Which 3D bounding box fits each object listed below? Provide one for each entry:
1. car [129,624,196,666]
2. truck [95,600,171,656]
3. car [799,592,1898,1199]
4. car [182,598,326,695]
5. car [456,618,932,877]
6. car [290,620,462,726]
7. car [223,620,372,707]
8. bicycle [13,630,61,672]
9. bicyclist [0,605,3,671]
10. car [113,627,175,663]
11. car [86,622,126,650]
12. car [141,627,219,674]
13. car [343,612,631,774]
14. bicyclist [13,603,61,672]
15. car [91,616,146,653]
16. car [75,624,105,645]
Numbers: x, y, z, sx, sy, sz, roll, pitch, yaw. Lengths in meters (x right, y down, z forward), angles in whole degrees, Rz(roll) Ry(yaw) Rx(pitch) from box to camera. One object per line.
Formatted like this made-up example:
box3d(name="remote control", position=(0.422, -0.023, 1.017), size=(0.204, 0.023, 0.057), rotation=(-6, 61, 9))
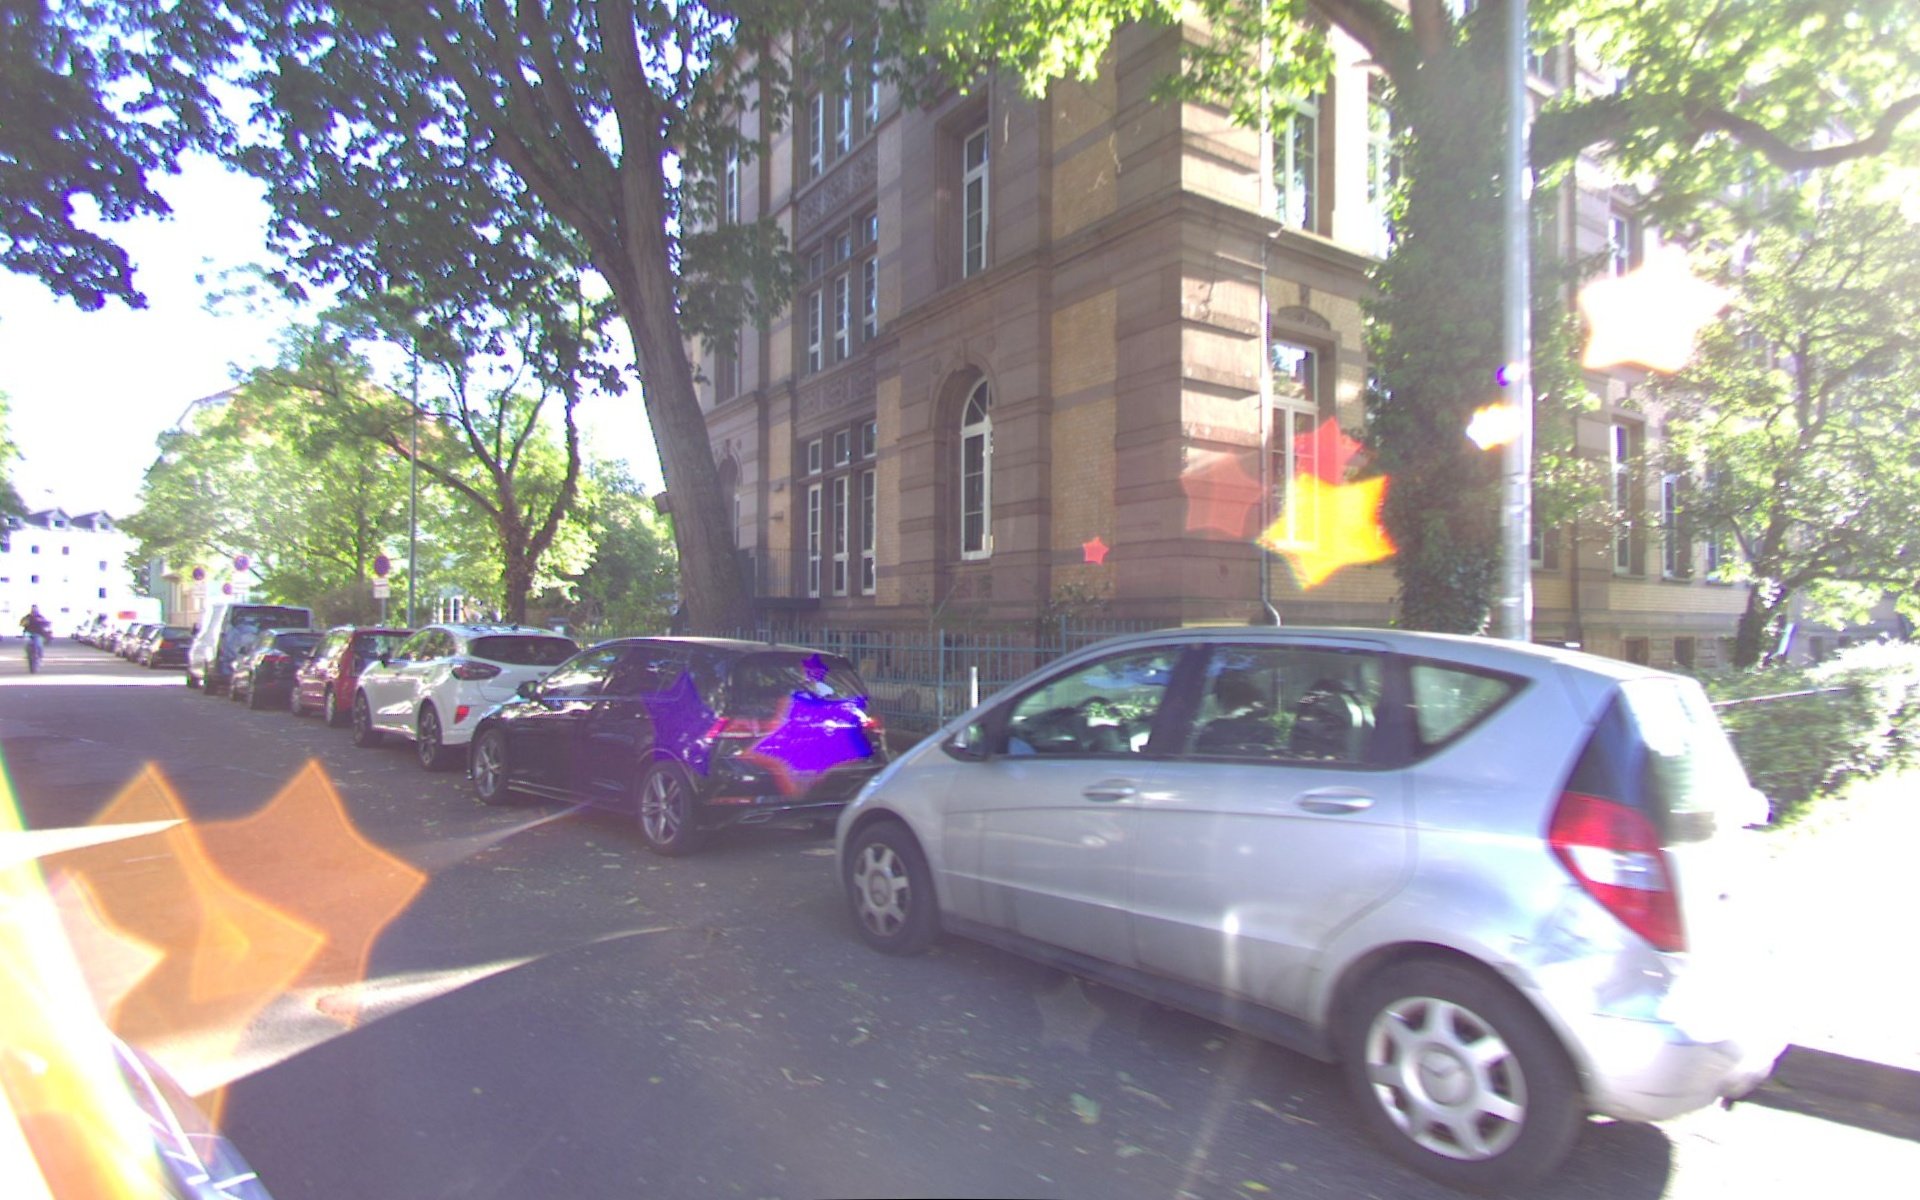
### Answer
box3d(name="car", position=(-30.429, 1.675, 38.565), size=(1.729, 1.484, 4.004), rotation=(0, -1, -42))
box3d(name="truck", position=(-42.385, 1.412, 51.778), size=(2.361, 2.677, 7.098), rotation=(2, -2, -44))
box3d(name="car", position=(1.178, 0.848, 4.261), size=(1.685, 1.570, 3.956), rotation=(6, -5, -43))
box3d(name="car", position=(-16.296, 1.063, 23.244), size=(1.969, 1.973, 5.048), rotation=(5, -4, -42))
box3d(name="car", position=(-2.247, 0.962, 7.935), size=(3.998, 1.475, 1.564), rotation=(0, -5, 41))
box3d(name="car", position=(-9.174, 1.079, 15.799), size=(1.601, 1.475, 3.314), rotation=(3, -3, -43))
box3d(name="car", position=(-12.604, 1.160, 19.174), size=(1.706, 1.475, 3.848), rotation=(3, -3, -43))
box3d(name="bicycle", position=(-26.485, 1.445, 29.030), size=(0.971, 1.151, 2.550), rotation=(2, -2, -43))
box3d(name="bicyclist", position=(-27.299, 1.055, 28.160), size=(0.920, 1.833, 1.079), rotation=(2, -2, -43))
box3d(name="car", position=(-34.649, 1.865, 42.930), size=(1.762, 1.469, 4.213), rotation=(1, -2, -42))
box3d(name="car", position=(-56.137, 2.329, 66.517), size=(1.783, 1.815, 4.194), rotation=(2, -2, -43))
box3d(name="car", position=(-26.131, 1.663, 33.876), size=(1.713, 1.475, 4.004), rotation=(2, -3, -42))
box3d(name="car", position=(-5.604, 0.997, 11.751), size=(1.767, 1.545, 4.003), rotation=(6, -5, -44))
box3d(name="bicyclist", position=(-26.464, 1.078, 29.028), size=(0.953, 1.930, 1.141), rotation=(2, -2, -43))
box3d(name="car", position=(-48.318, 1.940, 58.074), size=(2.115, 2.029, 4.813), rotation=(1, -2, -43))
box3d(name="car", position=(-67.079, 2.615, 77.997), size=(1.574, 1.578, 4.004), rotation=(2, -2, -43))
